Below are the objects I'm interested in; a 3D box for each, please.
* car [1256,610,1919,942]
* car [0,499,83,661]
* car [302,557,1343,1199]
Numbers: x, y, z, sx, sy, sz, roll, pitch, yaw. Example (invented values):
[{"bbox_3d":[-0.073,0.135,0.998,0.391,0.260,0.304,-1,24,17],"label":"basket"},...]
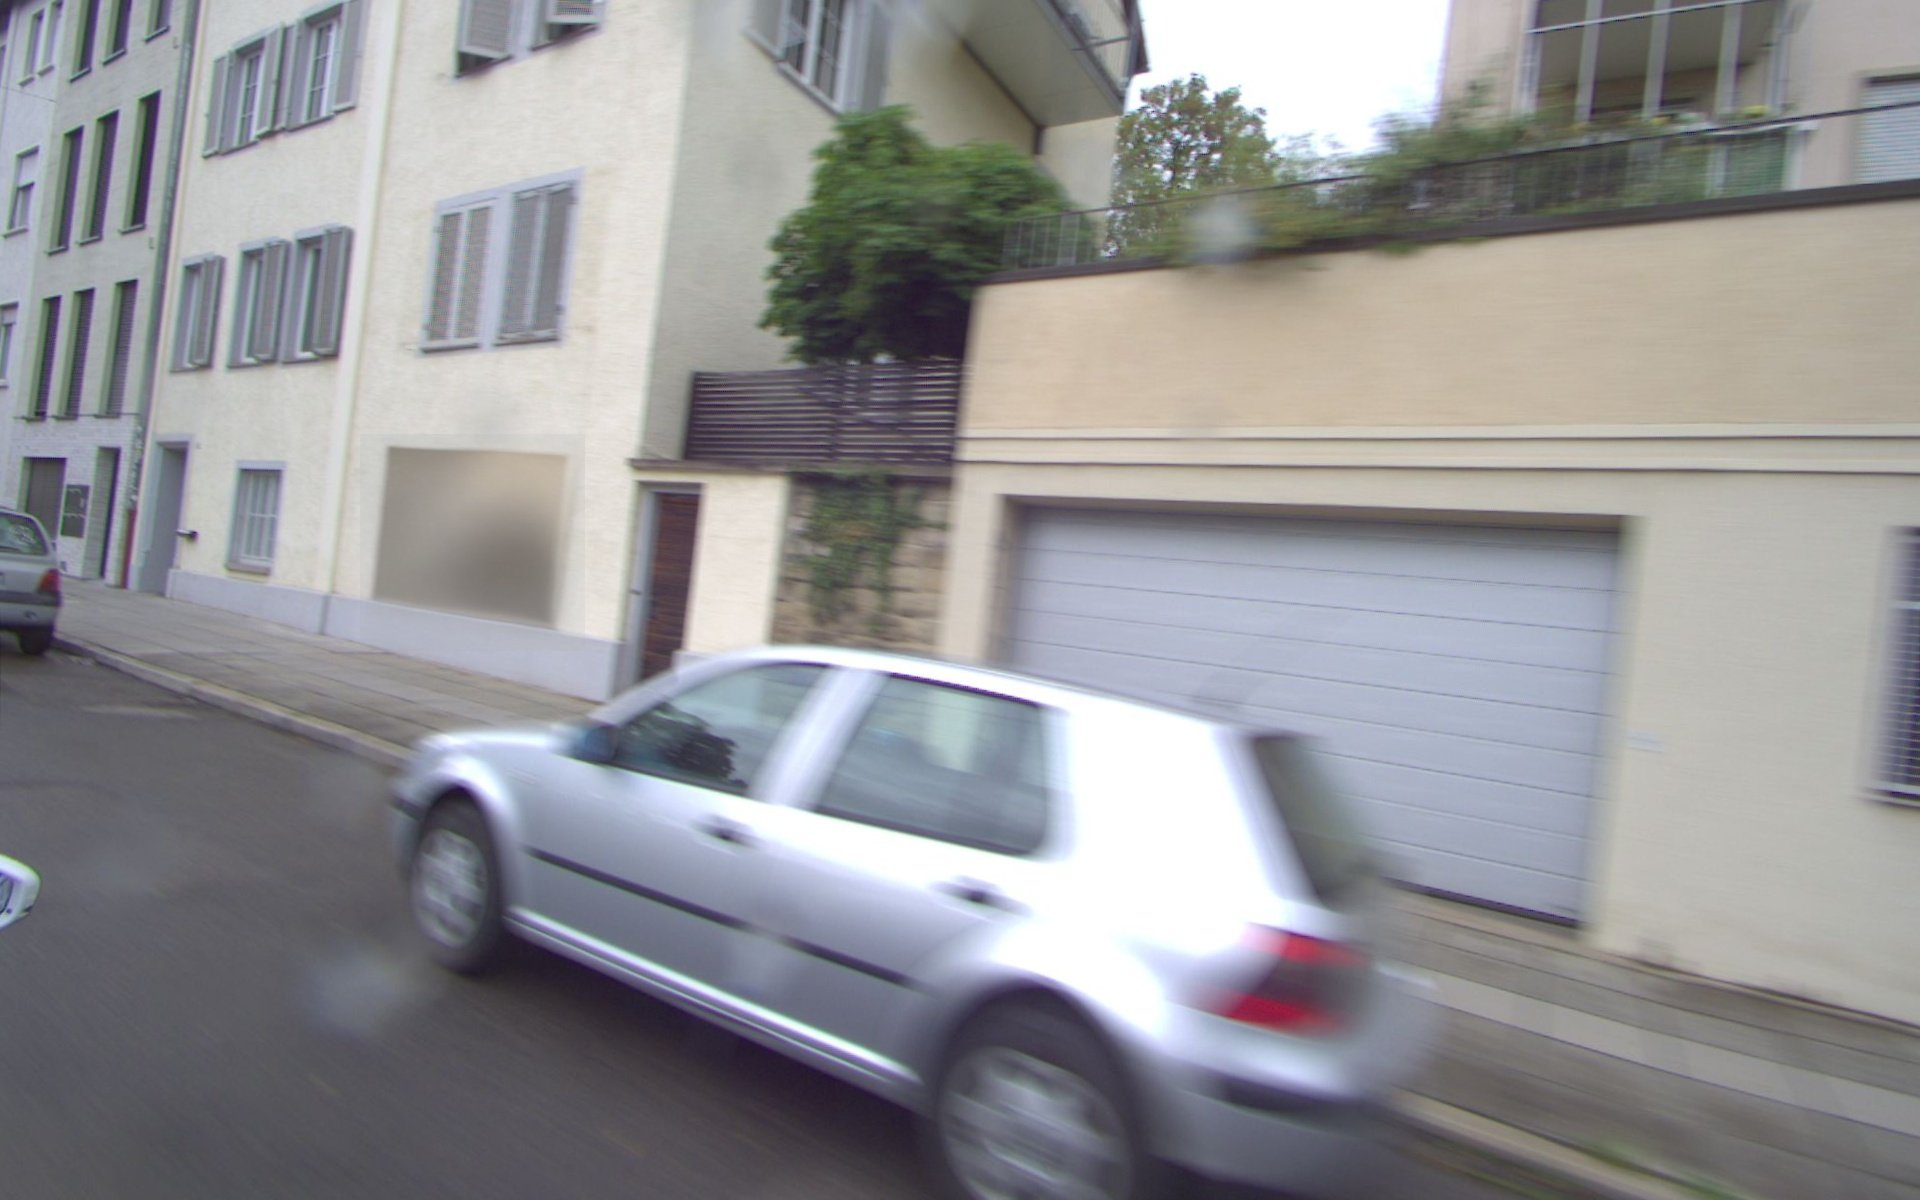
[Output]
[{"bbox_3d":[4.472,1.099,7.116,4.131,1.417,1.891,7,-2,29],"label":"car"},{"bbox_3d":[-10.786,-0.431,10.300,3.696,1.470,1.562,8,-2,32],"label":"car"},{"bbox_3d":[-0.675,0.861,3.950,3.696,1.470,1.633,8,-2,32],"label":"car"}]
